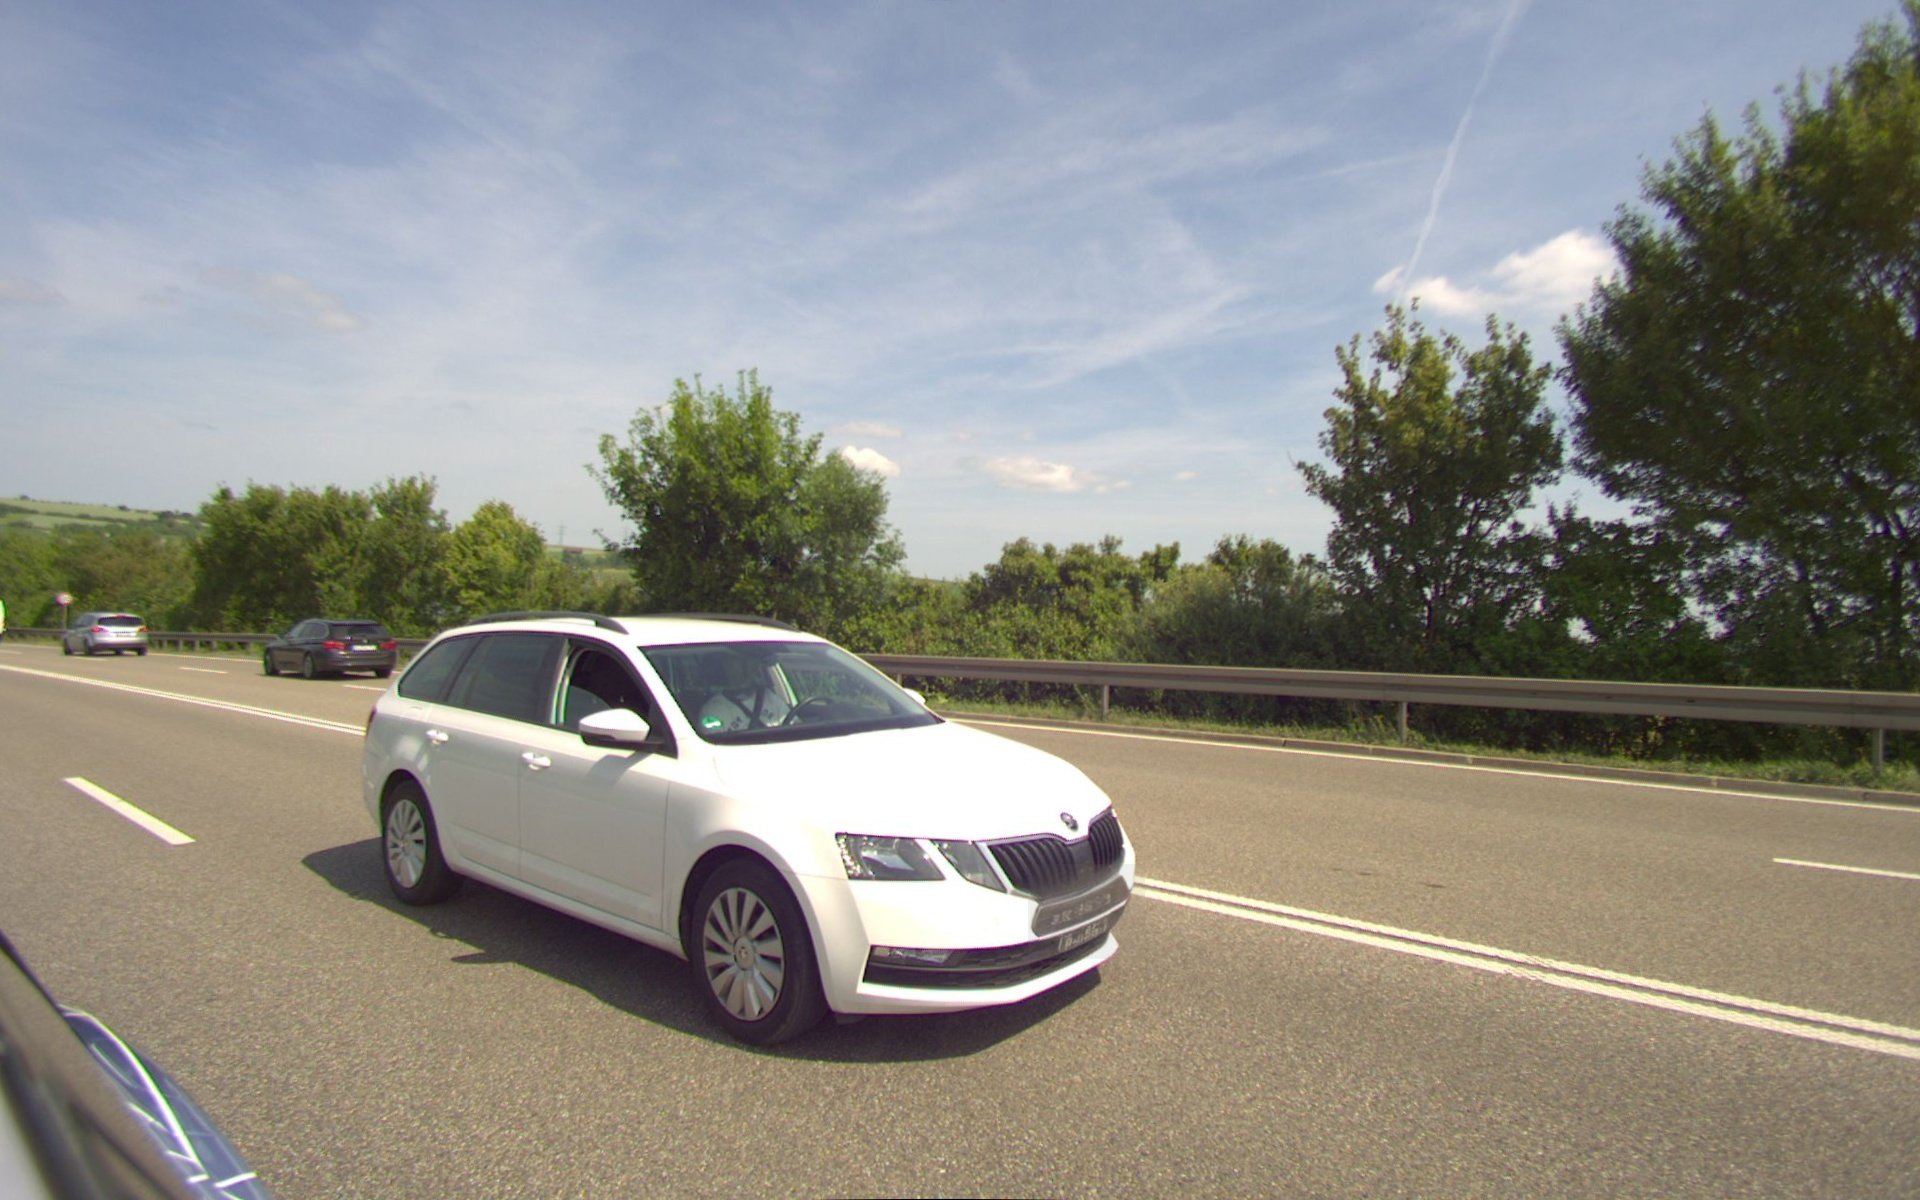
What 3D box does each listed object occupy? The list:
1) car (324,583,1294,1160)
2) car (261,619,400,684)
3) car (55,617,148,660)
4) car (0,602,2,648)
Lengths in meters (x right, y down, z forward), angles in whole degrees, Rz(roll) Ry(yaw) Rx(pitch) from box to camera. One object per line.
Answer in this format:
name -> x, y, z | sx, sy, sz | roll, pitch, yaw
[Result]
car -> -1.097, 0.749, 4.821 | 4.782, 1.483, 1.803 | -1, -1, 38
car -> -15.542, 1.201, 24.910 | 4.212, 1.472, 1.700 | -1, -2, 40
car -> -33.071, 1.453, 38.956 | 4.677, 1.580, 1.795 | -1, -2, 38
car -> -53.275, 1.343, 53.932 | 5.829, 2.413, 2.071 | -1, -2, 35
